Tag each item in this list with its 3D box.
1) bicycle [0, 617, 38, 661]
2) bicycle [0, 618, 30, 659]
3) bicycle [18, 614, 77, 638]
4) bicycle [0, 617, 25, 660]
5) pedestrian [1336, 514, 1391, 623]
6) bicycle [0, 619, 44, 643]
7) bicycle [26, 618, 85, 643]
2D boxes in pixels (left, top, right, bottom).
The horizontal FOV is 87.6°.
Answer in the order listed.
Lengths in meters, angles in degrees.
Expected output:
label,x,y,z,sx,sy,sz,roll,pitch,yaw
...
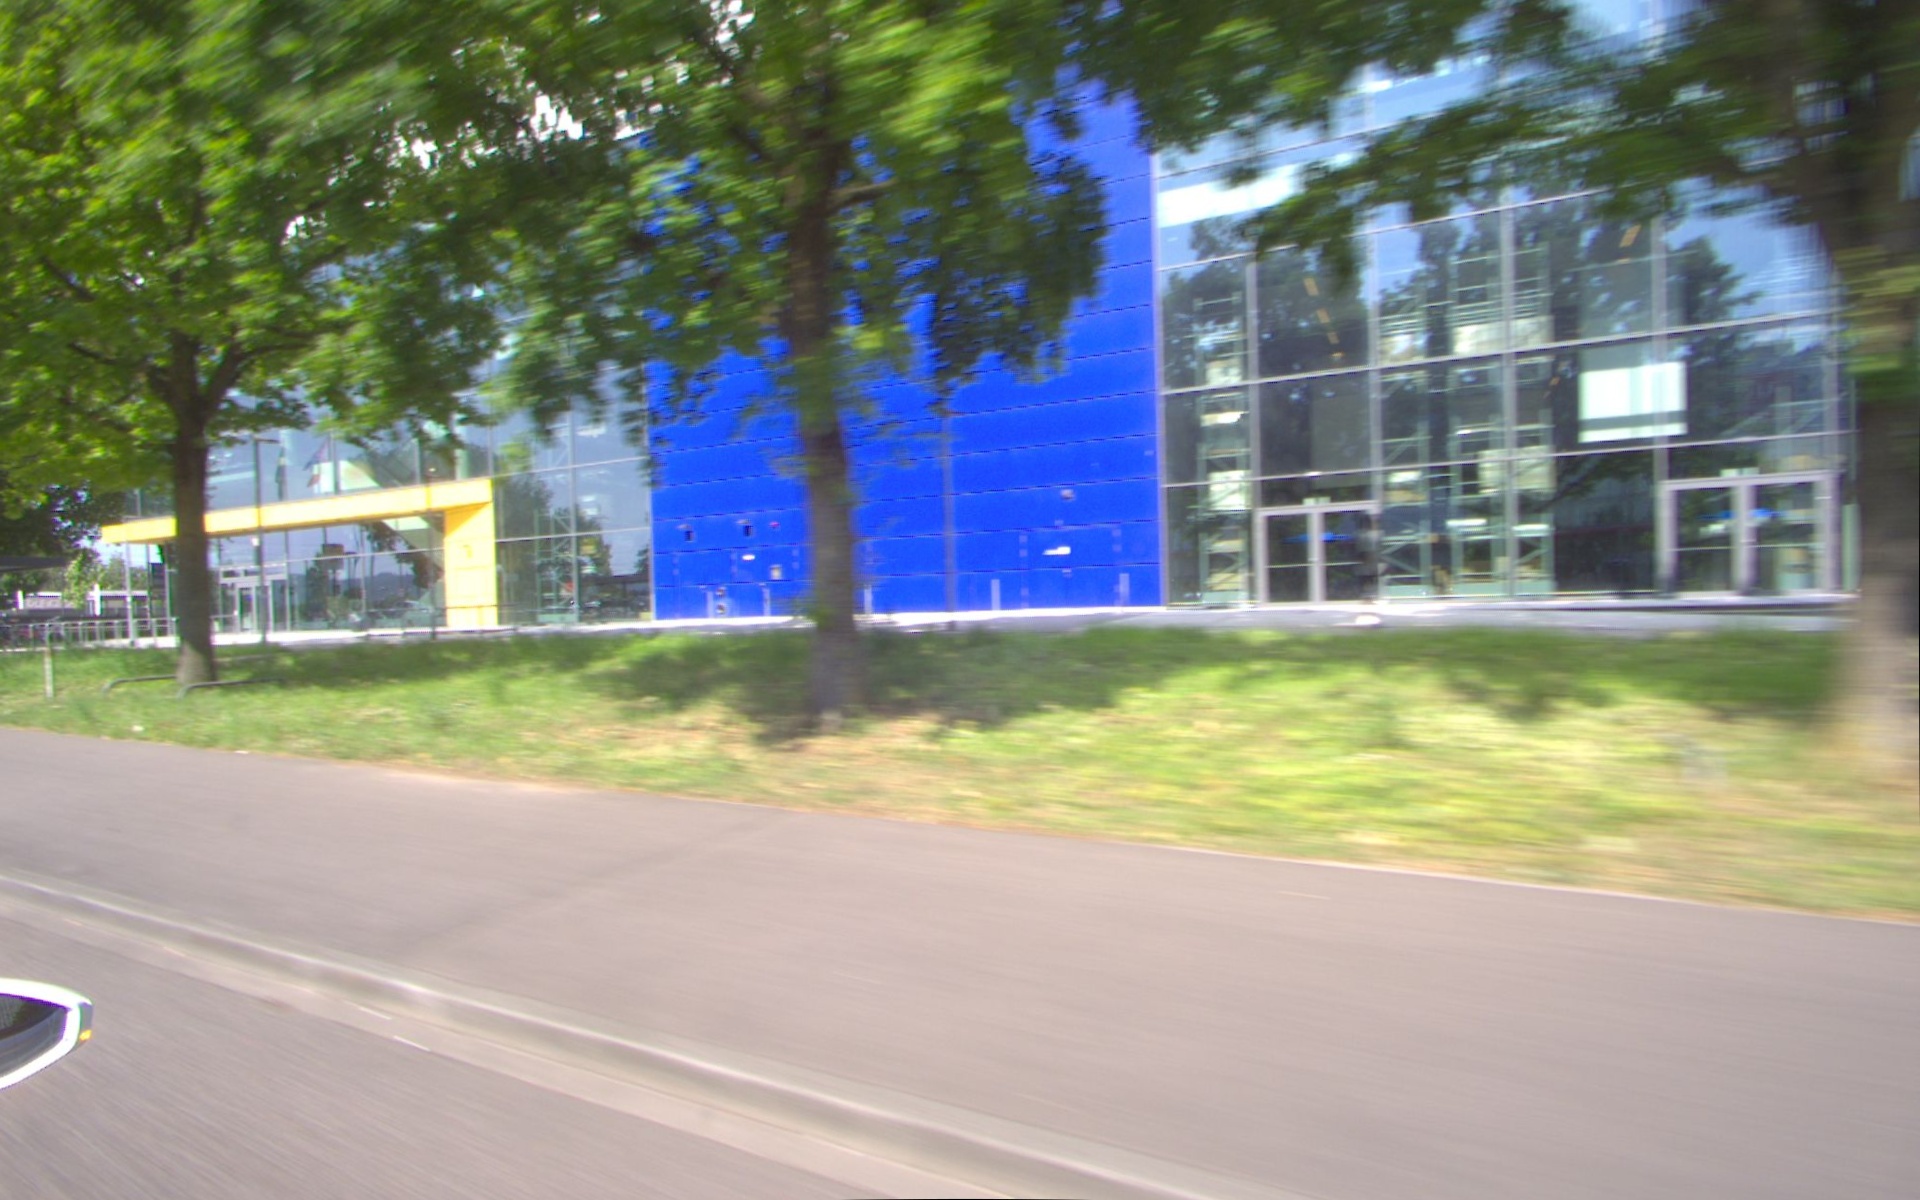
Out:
label,x,y,z,sx,sy,sz,roll,pitch,yaw
bicycle,-24.870,1.006,25.656,0.445,1.111,1.756,0,1,28
bicycle,-26.325,1.054,26.997,0.445,1.111,1.756,0,1,28
bicycle,-33.967,0.973,37.311,0.427,0.854,1.559,0,0,30
bicycle,-25.751,1.035,26.232,0.445,1.111,1.756,0,1,28
pedestrian,6.252,-0.474,15.493,0.759,1.634,0.688,0,2,24
bicycle,-36.177,1.190,38.336,0.427,0.854,1.559,0,0,29
bicycle,-33.264,1.122,36.844,0.427,0.854,1.559,0,0,30
